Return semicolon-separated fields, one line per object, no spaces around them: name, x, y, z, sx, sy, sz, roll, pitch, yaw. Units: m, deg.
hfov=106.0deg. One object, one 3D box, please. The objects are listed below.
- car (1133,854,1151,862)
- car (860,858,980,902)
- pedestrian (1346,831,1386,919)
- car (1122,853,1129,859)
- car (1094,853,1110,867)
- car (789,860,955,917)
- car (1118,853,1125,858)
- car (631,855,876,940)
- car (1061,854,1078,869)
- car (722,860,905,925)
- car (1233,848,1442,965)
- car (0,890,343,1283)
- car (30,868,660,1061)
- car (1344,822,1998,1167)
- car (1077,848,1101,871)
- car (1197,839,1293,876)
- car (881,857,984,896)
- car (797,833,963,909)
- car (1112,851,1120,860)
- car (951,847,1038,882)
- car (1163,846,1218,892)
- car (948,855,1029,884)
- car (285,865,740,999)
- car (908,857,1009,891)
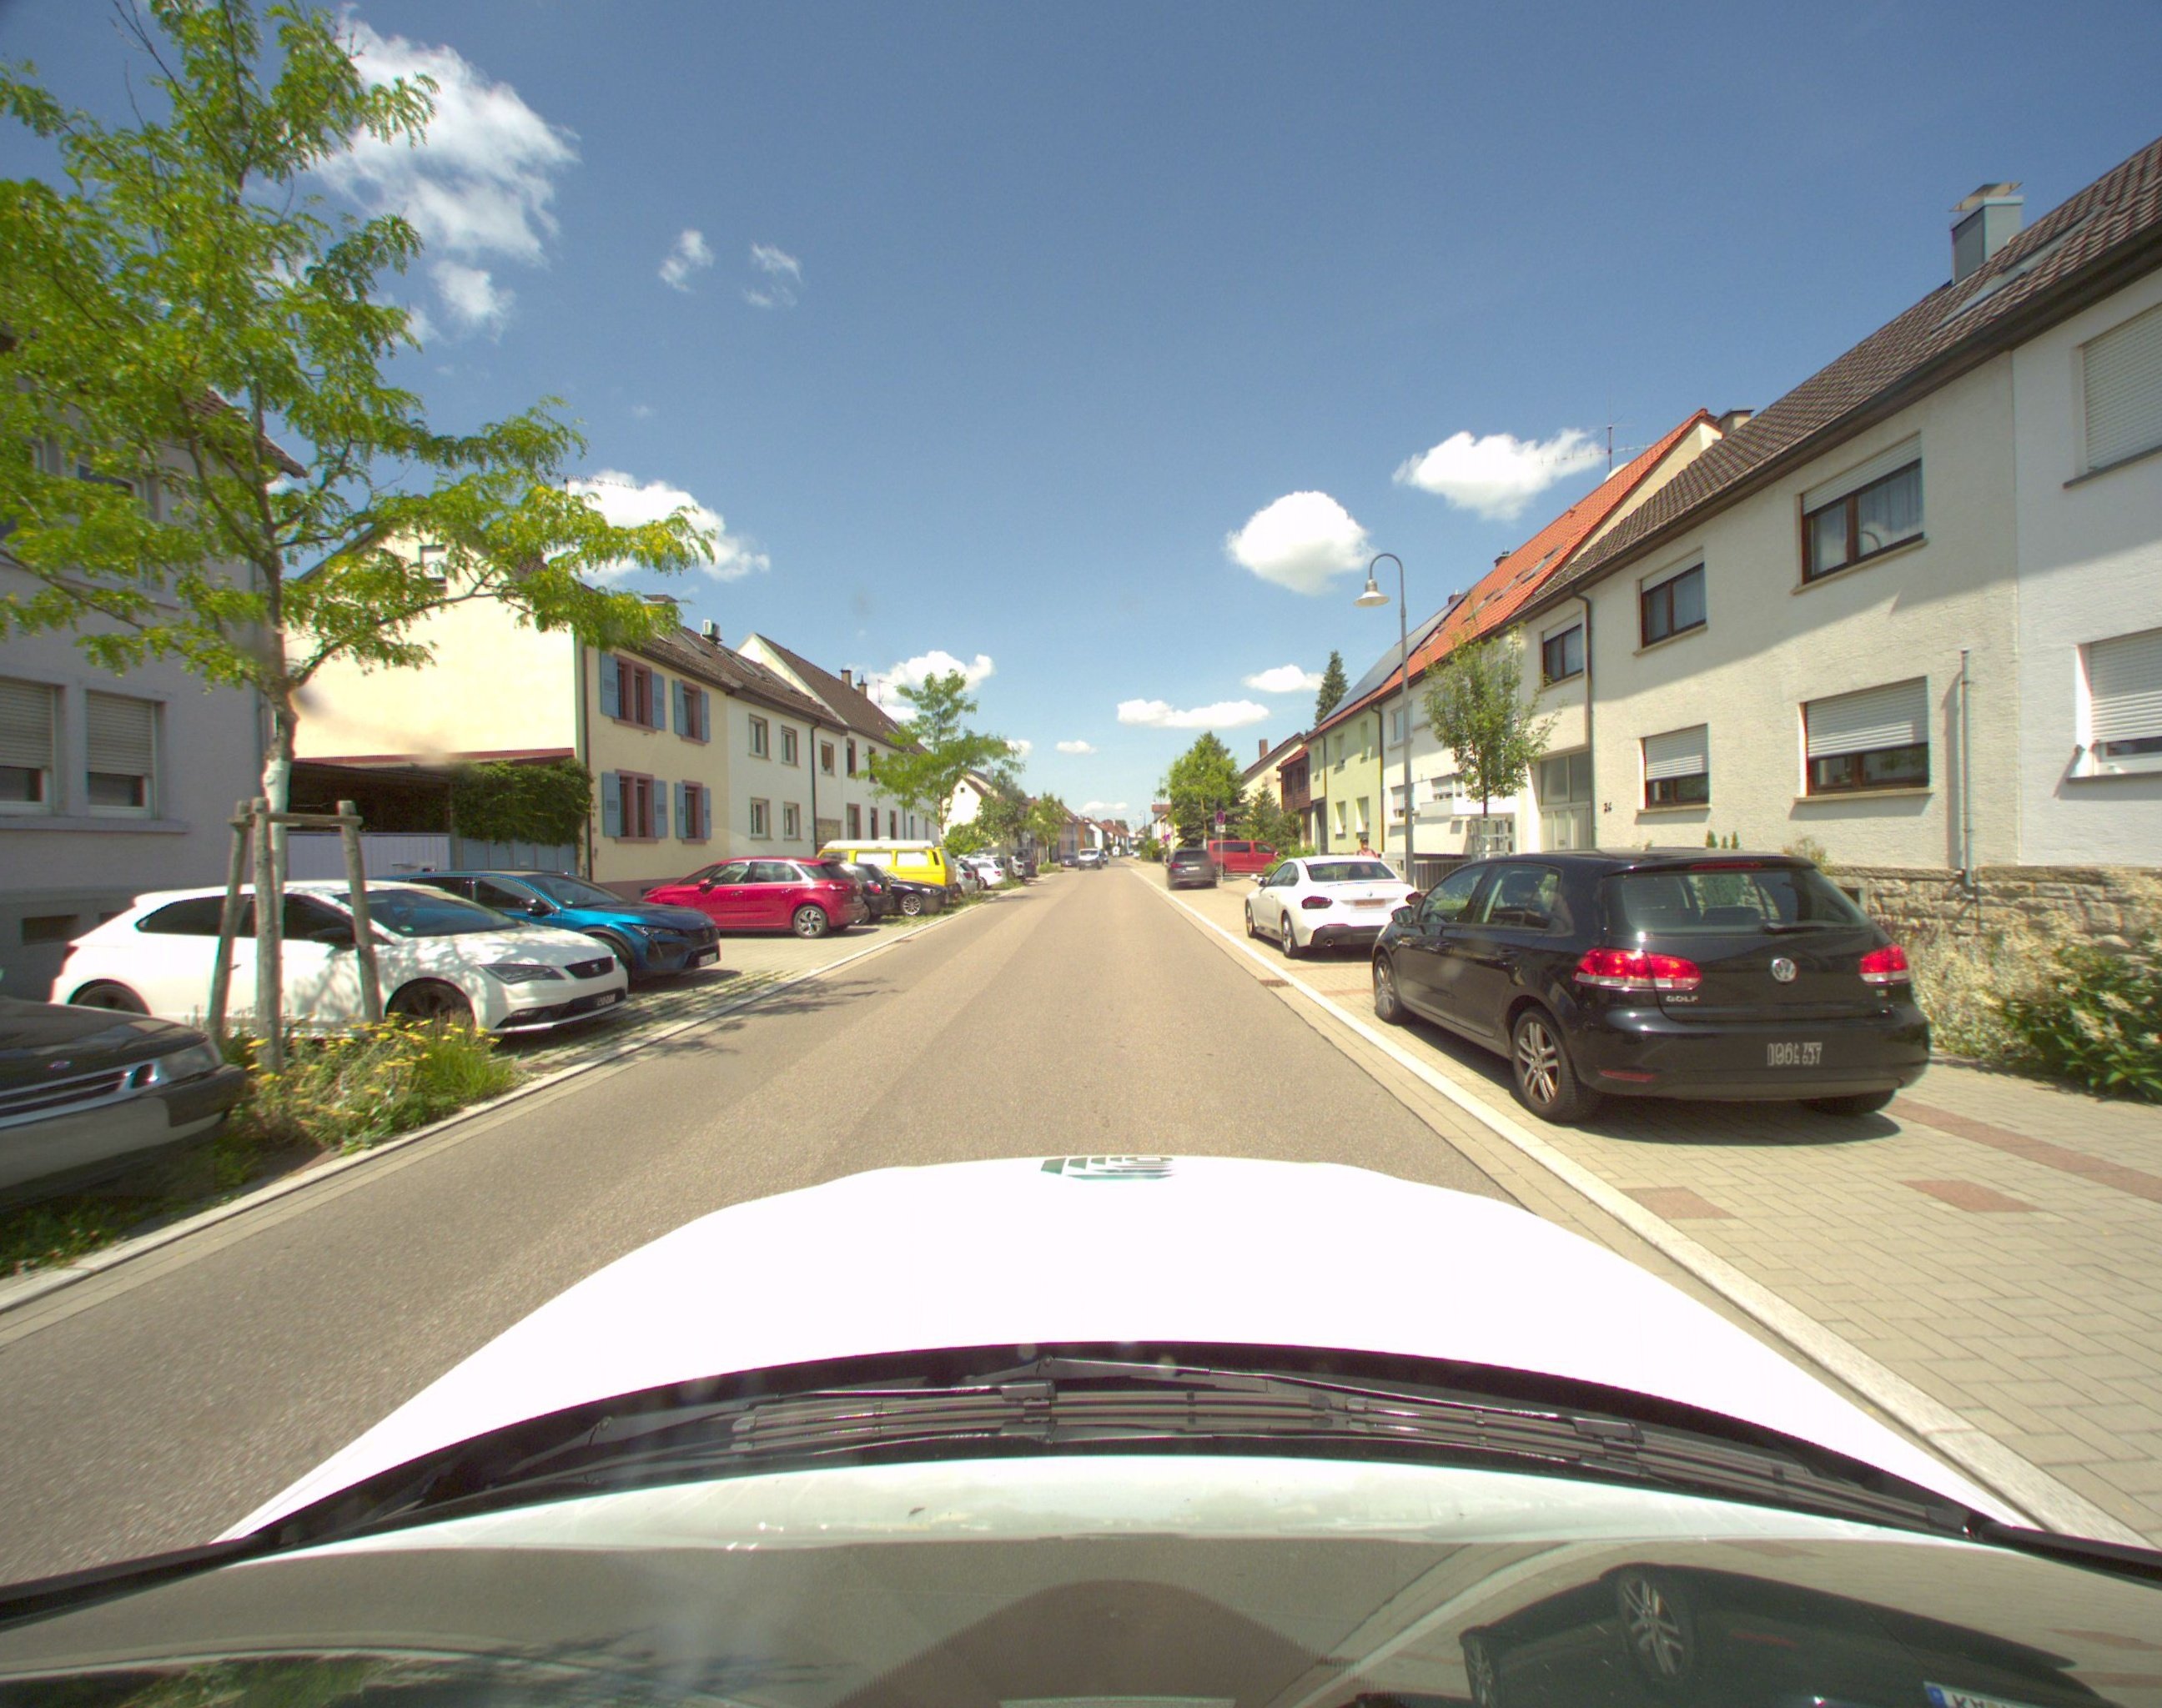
car;11.724;0.713;156.189;3.509;1.464;1.629;0;-1;2
car;-5.673;0.891;29.087;4.067;1.468;1.749;0;0;-7
pedestrian;5.818;0.419;16.659;0.555;1.749;0.673;-2;-1;2
car;13.163;0.602;239.765;1.683;1.660;3.777;0;-1;6
car;2.517;0.721;98.462;1.756;1.523;4.050;-3;0;1
car;-5.569;0.911;22.067;3.995;1.459;1.756;0;0;1
car;11.553;0.515;232.331;1.683;1.504;3.777;0;-1;6
car;-6.563;0.841;16.659;4.238;1.611;1.843;0;0;1
car;-1.303;0.837;91.736;1.811;1.433;4.139;2;1;-1
car;-6.301;0.879;19.472;3.780;1.459;1.754;0;0;-1
car;3.709;0.674;12.678;1.826;1.465;4.519;-1;0;0
car;-6.323;0.921;3.599;4.507;1.425;1.796;0;0;1
car;-6.331;0.892;7.403;4.041;1.478;1.775;0;0;-1
car;3.297;0.640;5.678;1.760;1.529;4.009;-1;0;2
car;0.745;0.542;74.273;2.015;1.950;4.899;-2;-1;1
car;8.520;0.185;42.602;4.603;1.893;2.020;0;-1;0
car;-5.780;0.881;32.068;3.875;1.468;1.655;0;-1;-7
car;-5.980;0.494;24.622;4.491;2.177;1.926;0;0;1
car;9.041;0.376;210.459;2.035;2.312;3.777;0;-1;6
car;-4.906;0.604;46.603;4.682;1.923;1.938;0;-1;1
car;4.357;0.539;32.982;1.856;1.635;4.452;-4;0;4
car;-4.941;0.834;43.976;4.172;1.569;1.772;0;-1;-2
car;-6.875;0.902;10.237;4.392;1.478;1.774;0;0;-2
car;-5.541;0.902;37.105;4.276;1.468;1.775;0;-1;3
